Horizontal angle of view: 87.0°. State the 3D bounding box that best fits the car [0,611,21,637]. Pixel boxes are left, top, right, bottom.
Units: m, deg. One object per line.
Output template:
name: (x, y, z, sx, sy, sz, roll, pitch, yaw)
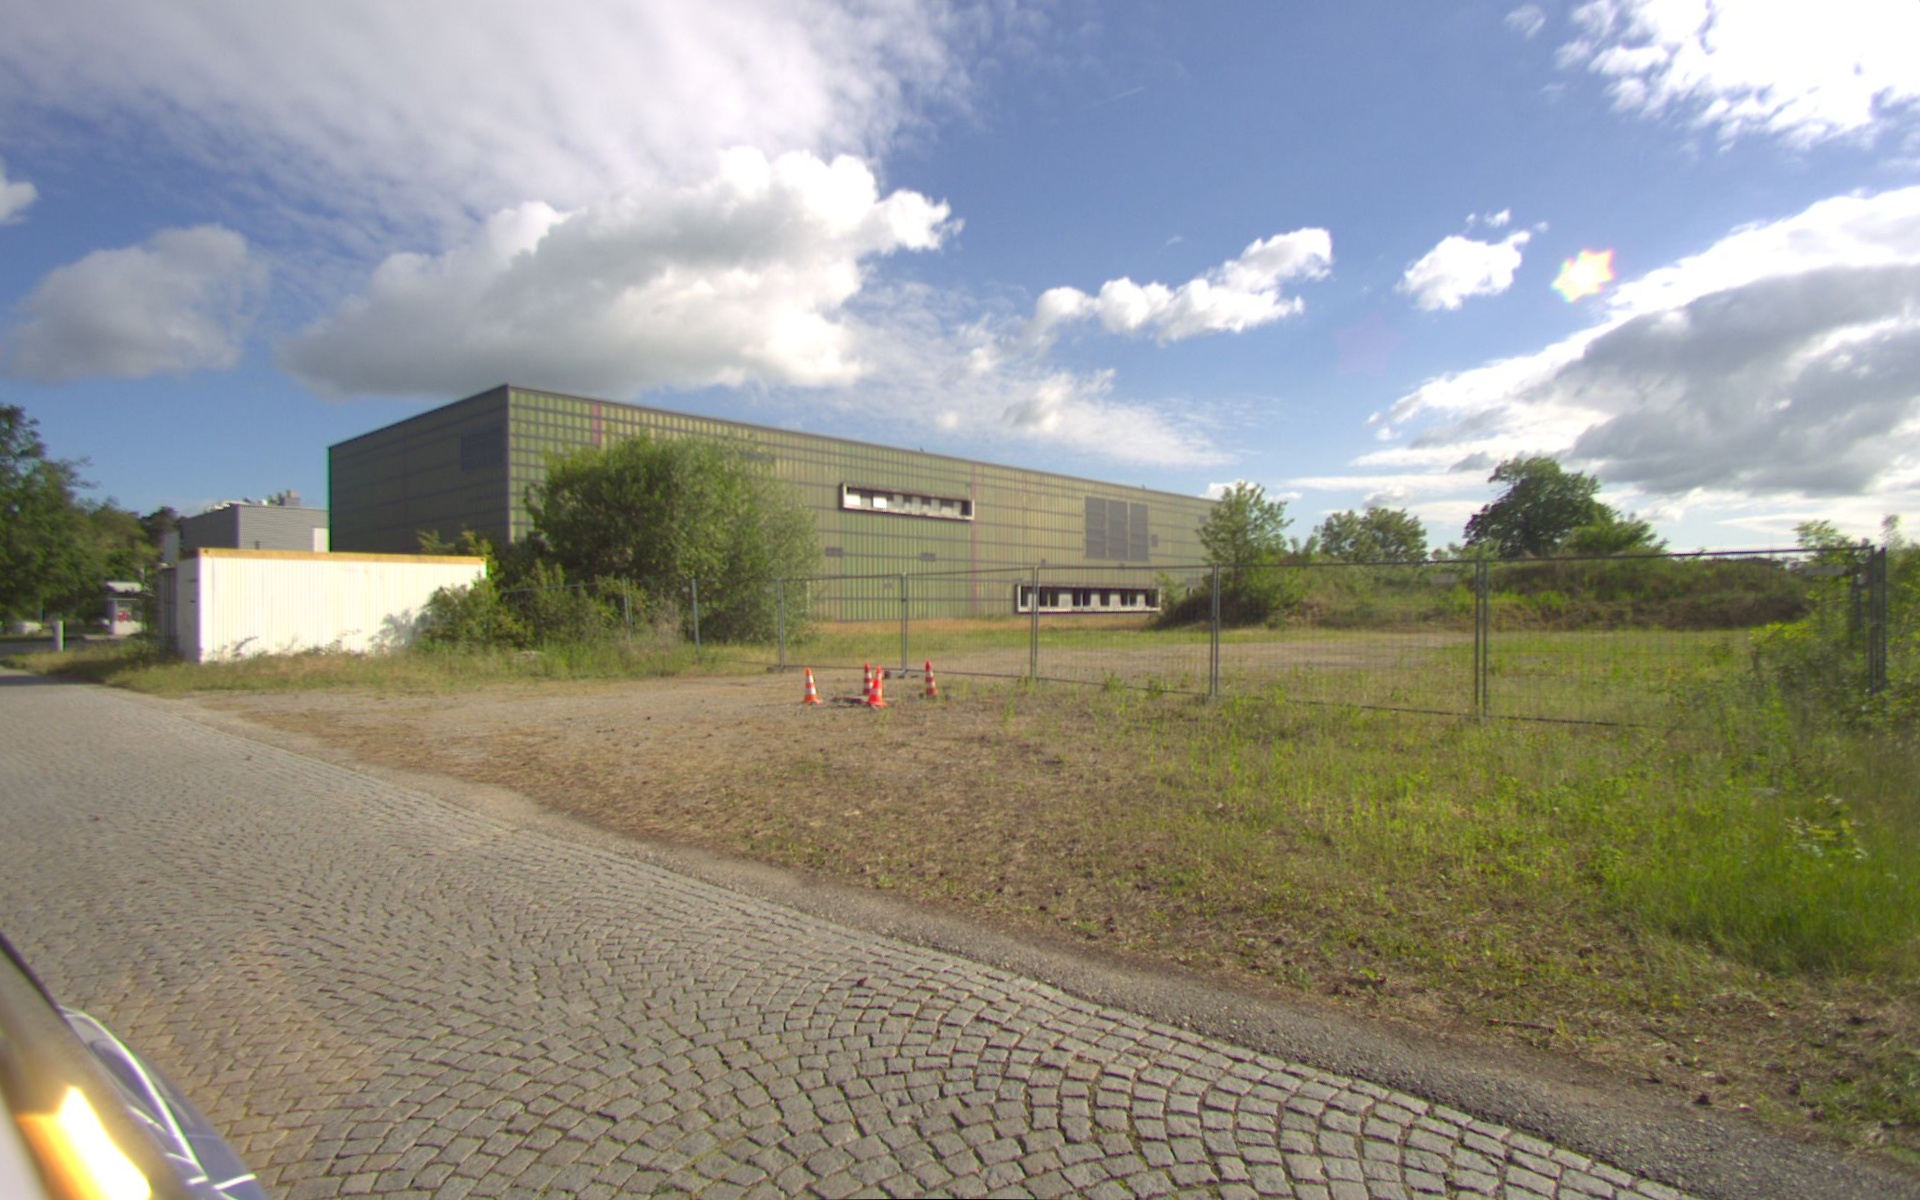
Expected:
car: (-65.079, 1.592, 67.215, 2.001, 1.701, 3.941, -1, -1, 45)
